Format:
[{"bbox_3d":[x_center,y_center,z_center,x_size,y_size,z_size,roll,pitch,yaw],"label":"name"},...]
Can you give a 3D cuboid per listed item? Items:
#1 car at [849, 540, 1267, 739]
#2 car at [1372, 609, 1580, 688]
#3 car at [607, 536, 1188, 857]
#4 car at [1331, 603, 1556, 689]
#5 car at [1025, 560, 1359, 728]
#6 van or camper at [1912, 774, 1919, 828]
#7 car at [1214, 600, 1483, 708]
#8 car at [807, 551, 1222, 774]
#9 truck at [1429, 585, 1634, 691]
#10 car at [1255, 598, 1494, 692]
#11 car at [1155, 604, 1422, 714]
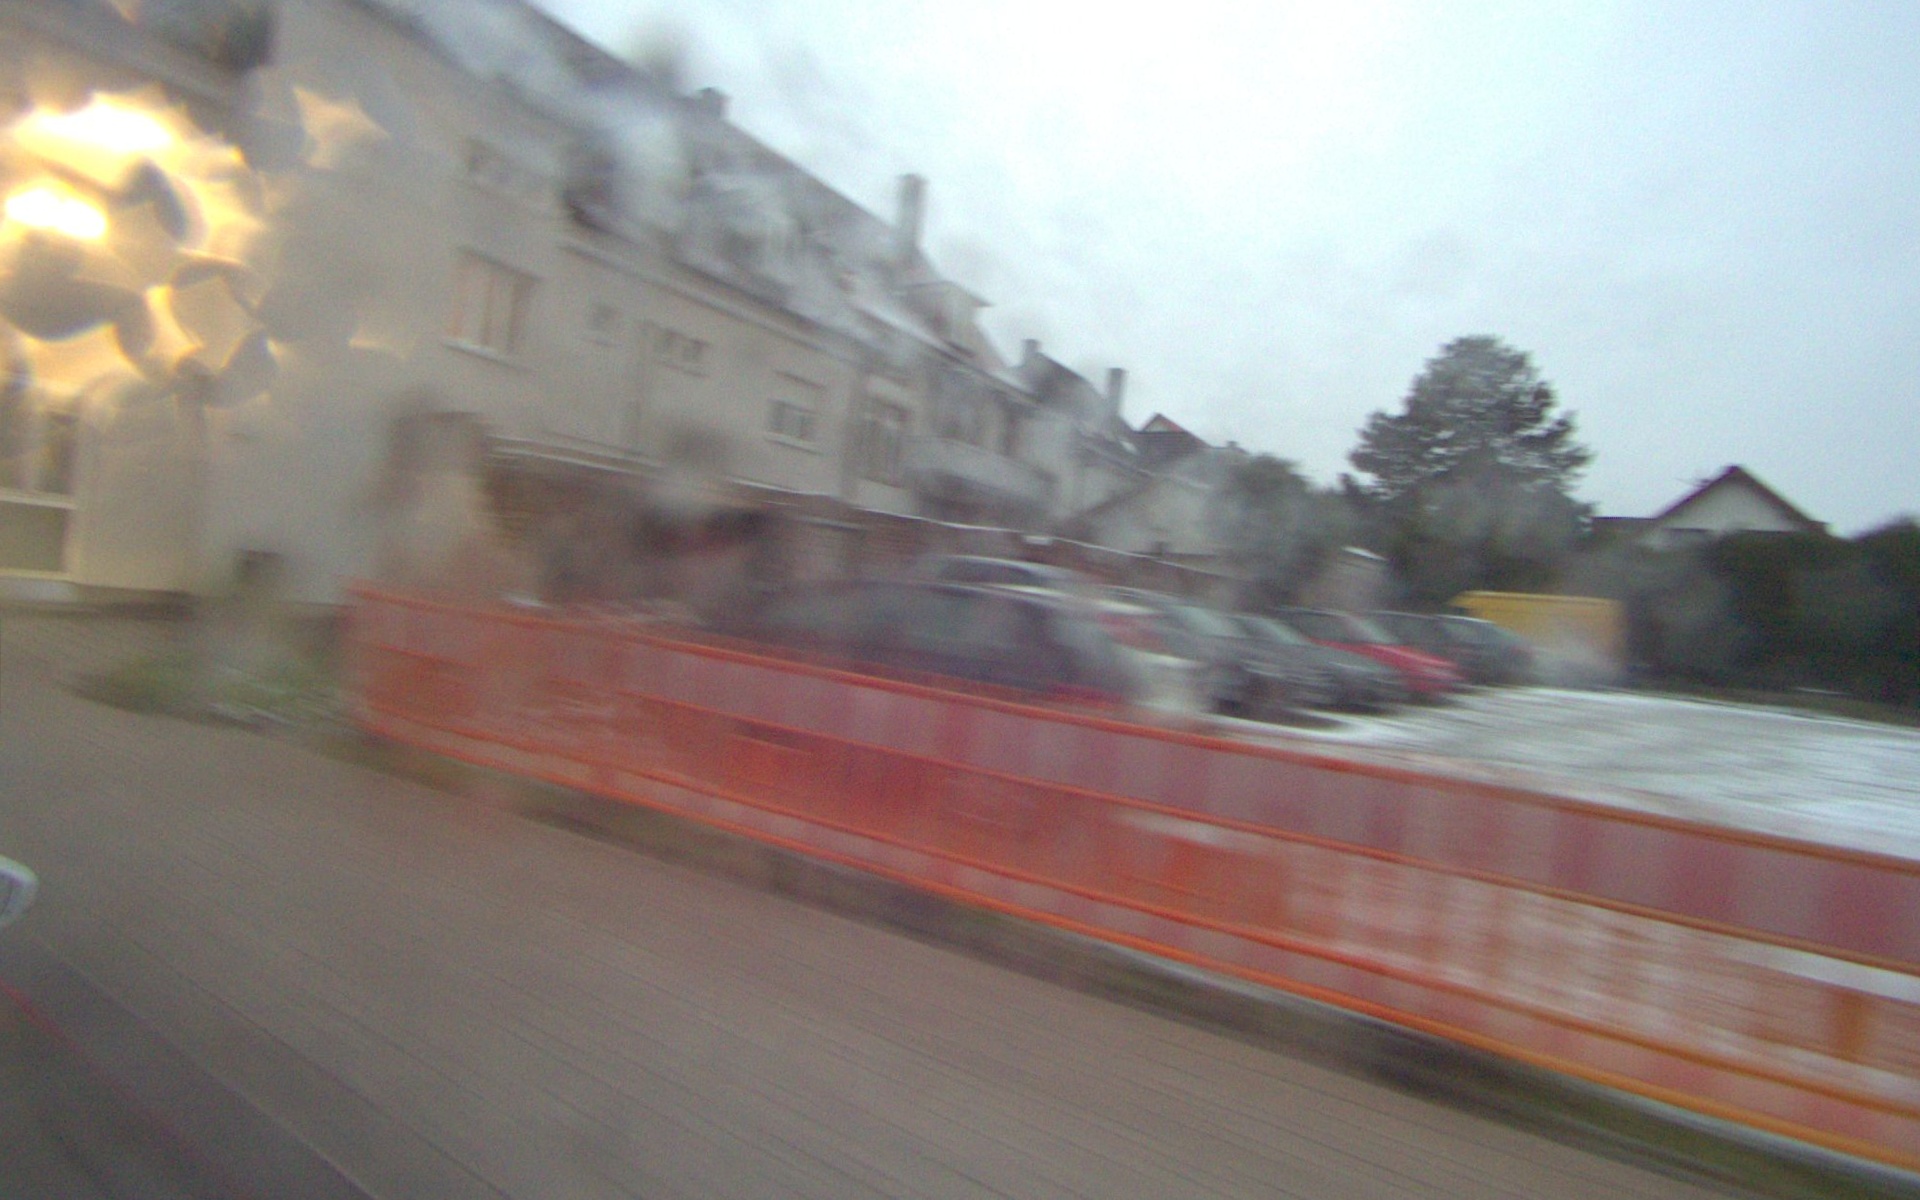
[{"bbox_3d":[1.136,0.375,12.755,4.841,1.614,1.781,9,4,30],"label":"car"},{"bbox_3d":[12.714,1.128,24.930,4.180,1.345,1.776,8,4,40],"label":"car"},{"bbox_3d":[-0.437,0.524,7.322,3.685,1.426,1.784,9,4,23],"label":"car"},{"bbox_3d":[10.884,0.969,22.803,4.180,1.345,1.776,8,4,40],"label":"car"},{"bbox_3d":[3.223,0.541,14.490,4.179,1.644,1.777,10,4,40],"label":"car"},{"bbox_3d":[11.937,0.820,6.970,7.003,3.559,2.431,8,4,31],"label":"van or camper"},{"bbox_3d":[7.080,0.915,18.585,4.180,1.345,1.776,8,4,40],"label":"car"},{"bbox_3d":[0.549,0.506,9.964,3.614,1.454,1.665,9,4,23],"label":"car"},{"bbox_3d":[14.998,0.924,26.592,1.773,2.216,4.187,2,5,-44],"label":"truck"},{"bbox_3d":[8.578,0.877,21.024,4.180,1.345,1.776,8,4,40],"label":"car"},{"bbox_3d":[5.383,0.902,16.729,3.756,1.256,1.719,8,4,40],"label":"car"}]
